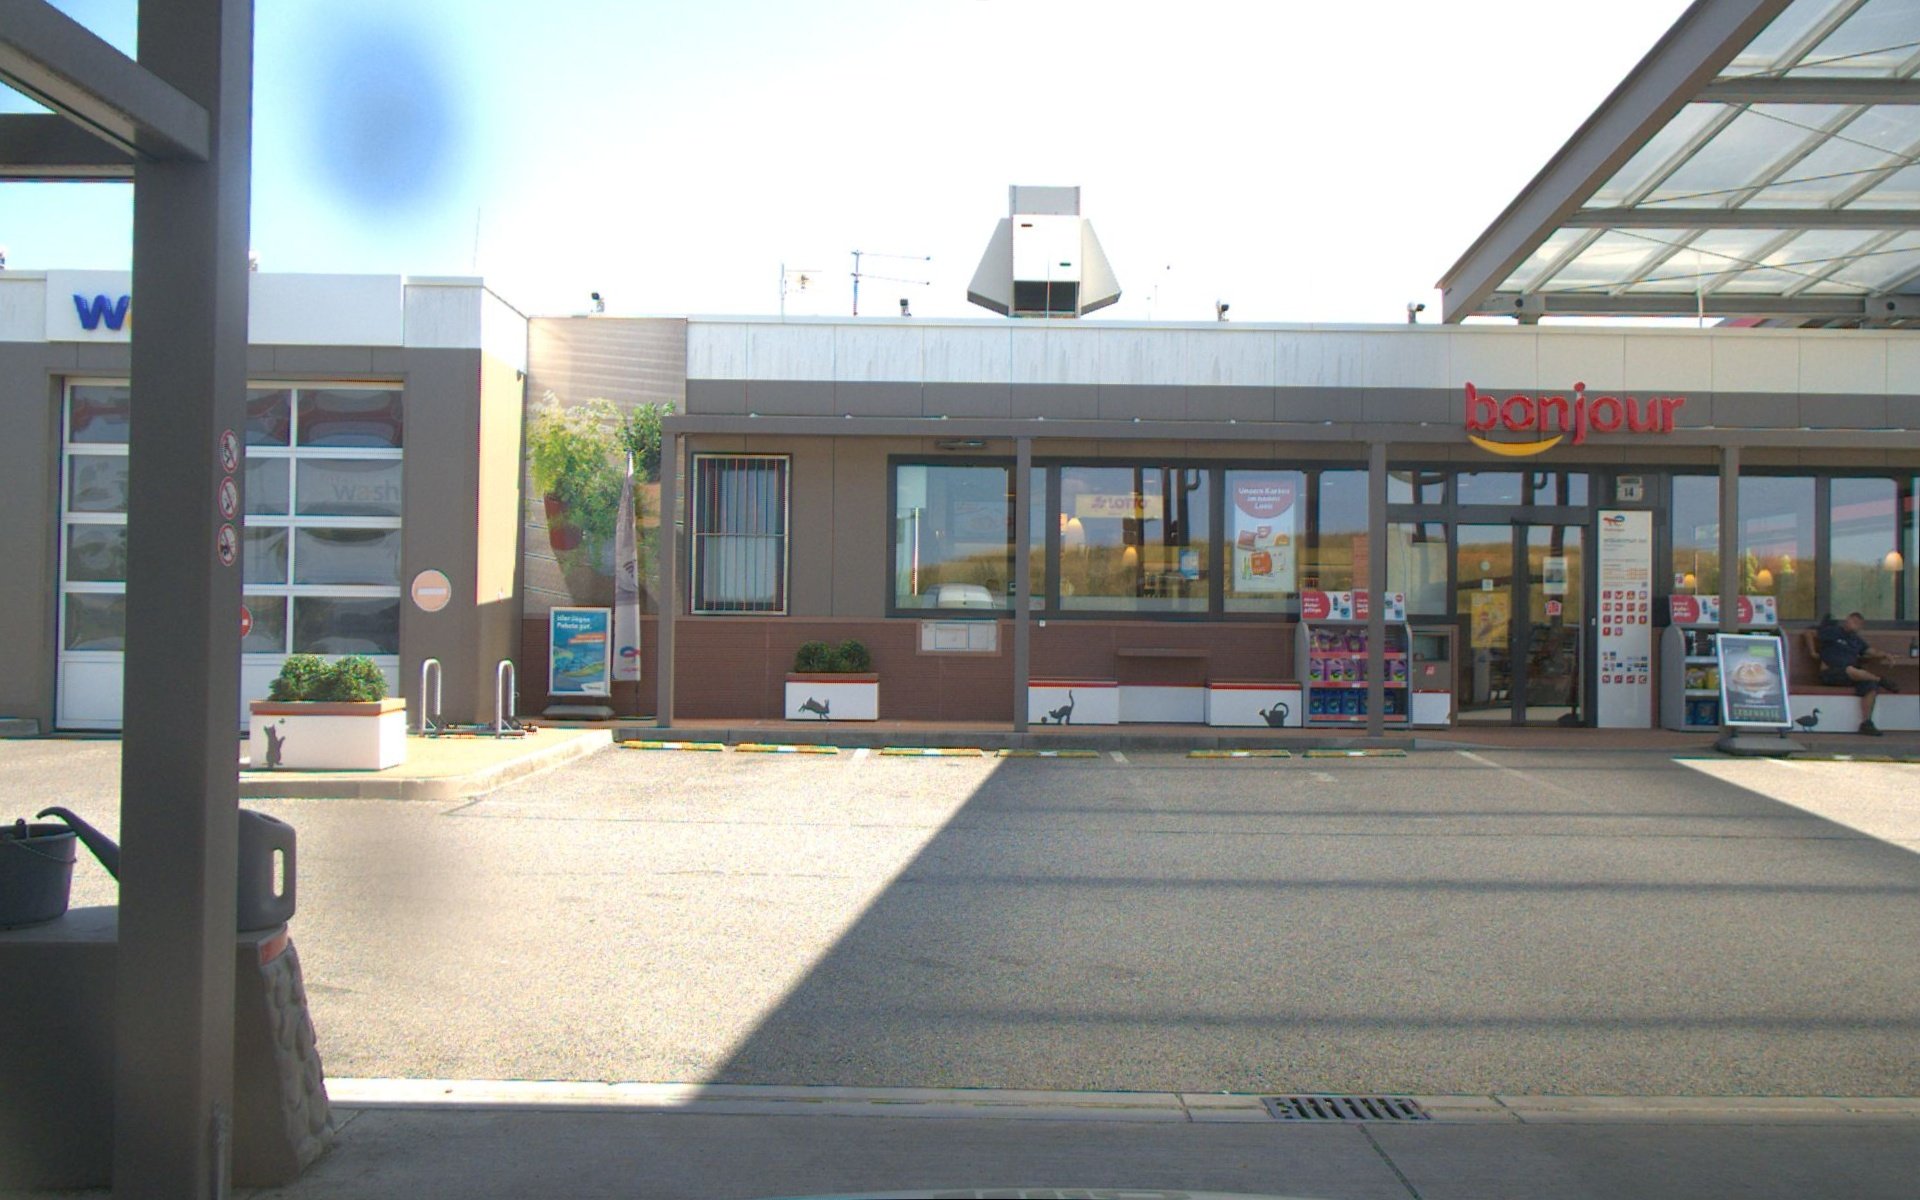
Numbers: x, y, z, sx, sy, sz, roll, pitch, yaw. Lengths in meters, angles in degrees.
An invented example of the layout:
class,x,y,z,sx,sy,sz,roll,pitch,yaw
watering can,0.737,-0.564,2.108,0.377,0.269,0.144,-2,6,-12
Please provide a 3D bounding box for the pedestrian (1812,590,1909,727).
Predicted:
class,x,y,z,sx,sy,sz,roll,pitch,yaw
pedestrian,9.724,0.621,17.879,0.687,1.457,0.672,0,0,-1
